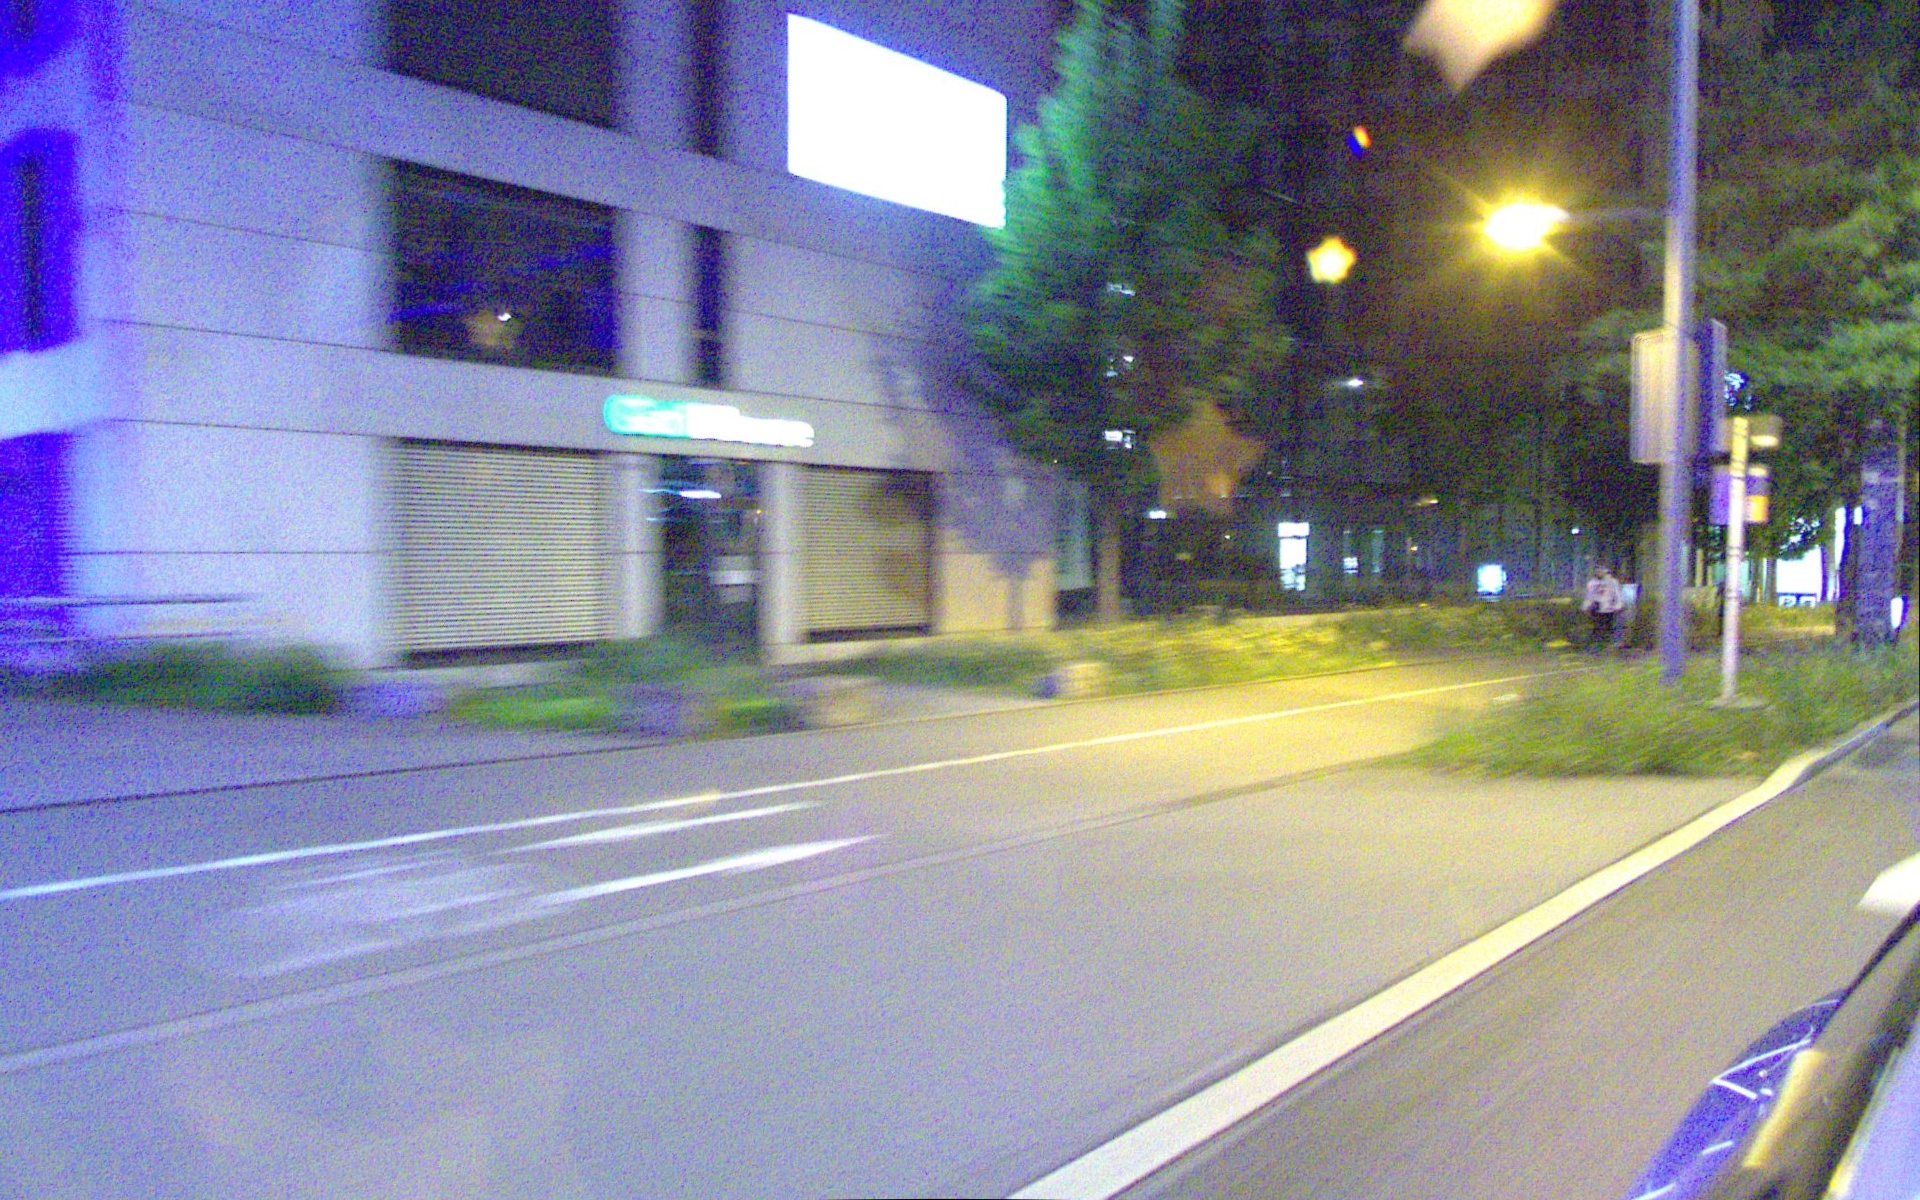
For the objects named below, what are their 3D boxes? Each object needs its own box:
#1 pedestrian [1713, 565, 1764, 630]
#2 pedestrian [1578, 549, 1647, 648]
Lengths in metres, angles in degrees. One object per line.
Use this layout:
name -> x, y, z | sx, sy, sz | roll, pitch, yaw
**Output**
pedestrian -> 21.449, -0.095, 27.895 | 0.940, 1.727, 0.855 | -1, 4, -40
pedestrian -> 13.155, -0.042, 20.410 | 0.777, 1.936, 0.808 | 0, 3, -31
